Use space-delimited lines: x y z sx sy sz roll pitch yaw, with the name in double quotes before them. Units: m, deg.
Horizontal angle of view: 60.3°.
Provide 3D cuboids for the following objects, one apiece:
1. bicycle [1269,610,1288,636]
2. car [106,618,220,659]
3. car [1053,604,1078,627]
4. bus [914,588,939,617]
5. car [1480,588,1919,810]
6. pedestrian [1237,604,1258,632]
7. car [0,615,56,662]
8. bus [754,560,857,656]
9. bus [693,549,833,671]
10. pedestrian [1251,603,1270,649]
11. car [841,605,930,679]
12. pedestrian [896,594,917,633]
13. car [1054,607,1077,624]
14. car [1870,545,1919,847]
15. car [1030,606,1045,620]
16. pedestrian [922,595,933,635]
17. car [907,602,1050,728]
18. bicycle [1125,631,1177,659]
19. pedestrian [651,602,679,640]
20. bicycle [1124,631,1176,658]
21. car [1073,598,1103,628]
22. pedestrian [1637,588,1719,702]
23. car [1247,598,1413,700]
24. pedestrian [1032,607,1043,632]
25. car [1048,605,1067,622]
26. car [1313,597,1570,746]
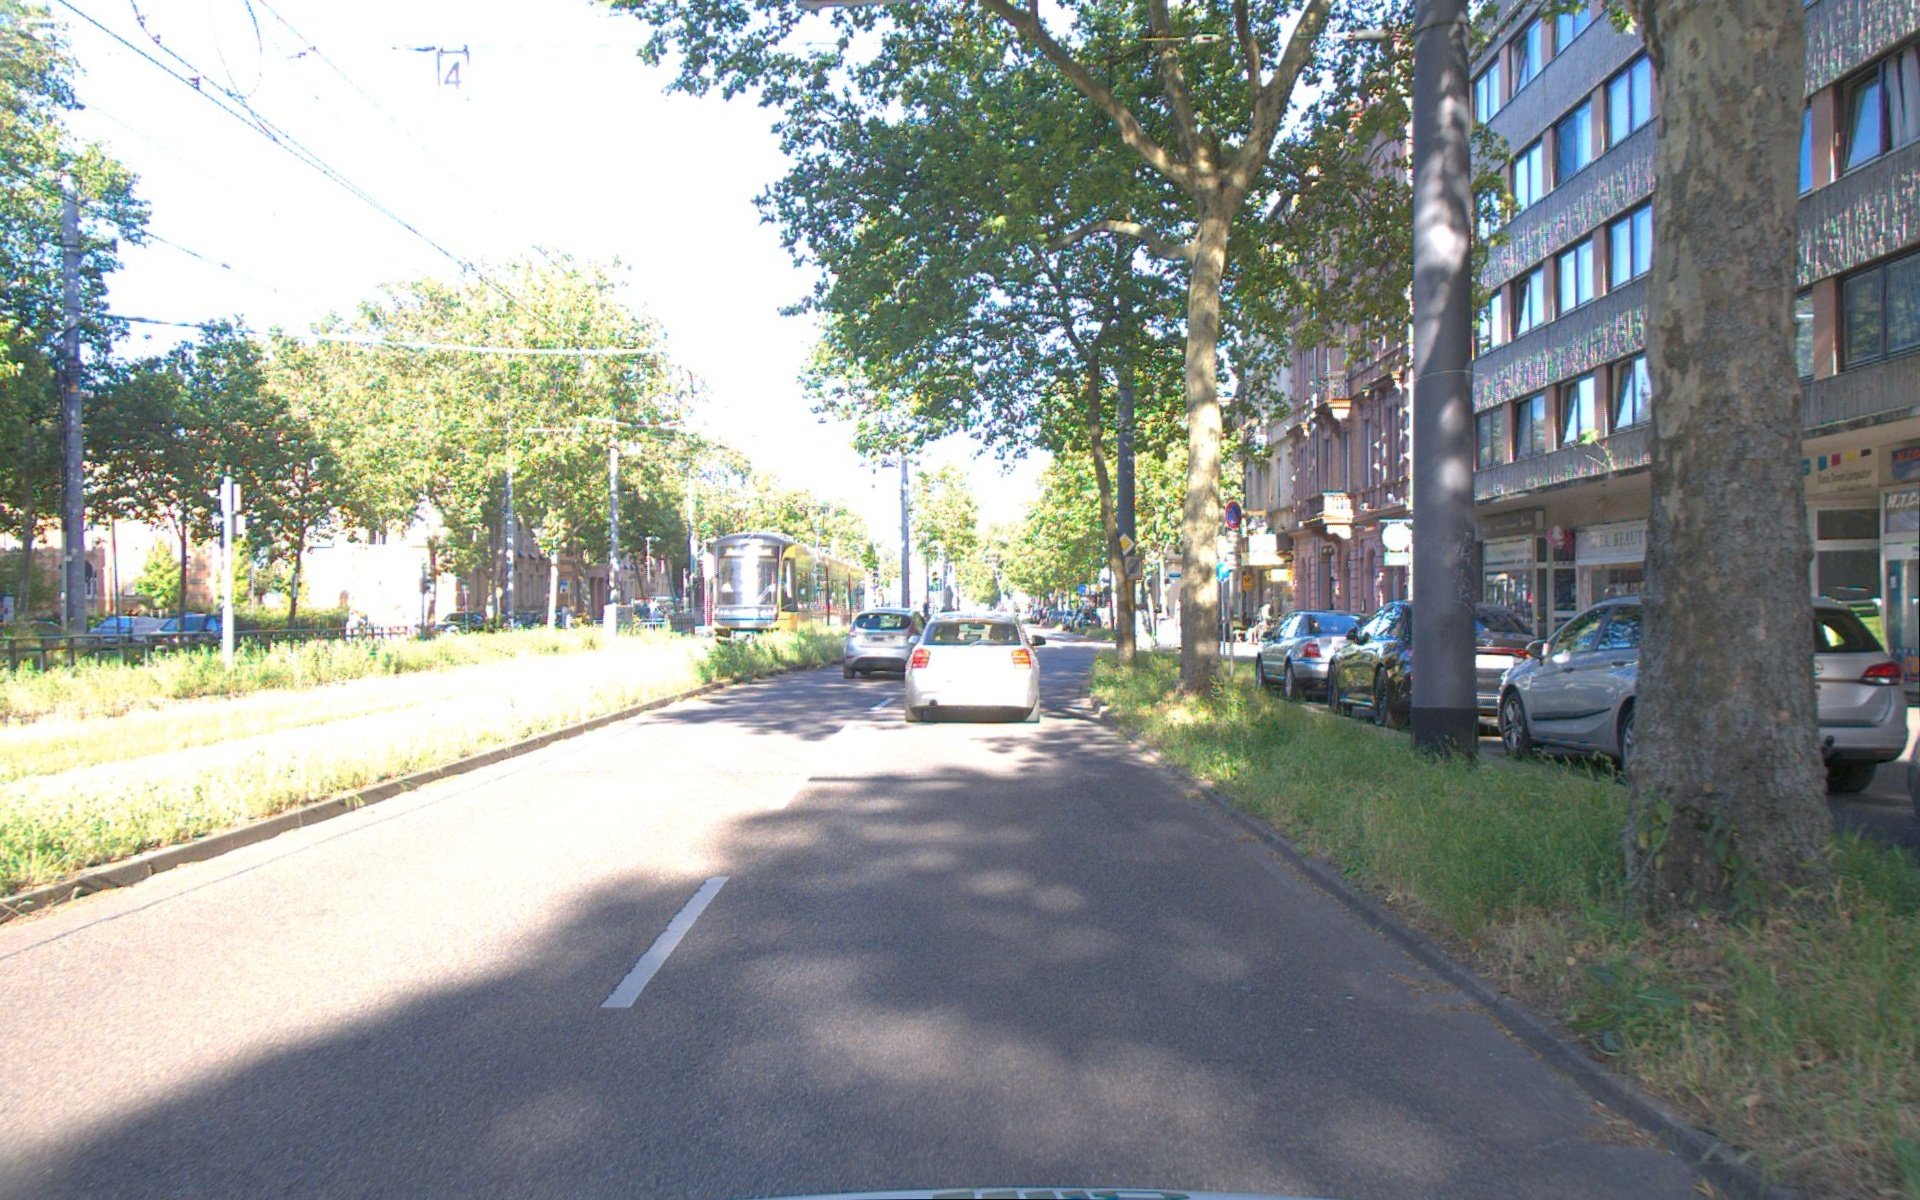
"bicycle" 12.847 0.914 66.730 0.434 1.010 1.688 2 0 0
"car" -26.008 1.238 54.103 1.755 1.199 4.000 2 0 0
"car" 8.274 1.233 129.960 1.657 1.687 4.039 0 1 0
"bus" -4.372 0.308 218.299 2.693 3.689 18.849 0 0 1
"car" 5.918 0.696 13.781 1.643 1.492 4.669 2 0 0
"pedestrian" 12.439 0.780 71.514 0.761 1.181 0.466 1 0 -25
"car" -25.901 1.025 44.737 1.372 1.221 2.844 0 0 -1
"bus" -6.086 0.299 67.032 2.810 3.504 12.215 0 0 1
"bus" -6.196 0.310 54.341 2.810 3.504 13.217 0 0 1
"pedestrian" 12.097 1.037 66.643 0.459 1.842 0.772 2 0 32
"car" -1.517 0.835 34.772 1.613 1.386 3.760 2 1 1
"pedestrian" -2.742 0.691 85.113 1.050 1.949 1.126 0 0 -1
"car" 9.948 1.472 156.306 1.952 1.535 4.597 2 -1 1
"car" 5.693 0.516 6.662 1.669 1.528 4.358 2 0 1
"car" 9.482 1.623 203.472 1.665 1.561 3.717 2 1 1
"pedestrian" -1.606 0.734 81.817 0.442 1.936 0.584 0 0 -7
"car" 0.228 0.808 22.469 1.726 1.457 4.000 2 1 0
"bicycle" 7.432 1.757 64.442 1.963 1.010 0.444 2 0 -2
"pedestrian" -13.266 0.934 74.428 1.154 1.672 0.891 0 -1 -7
"bicycle" 7.473 1.740 65.028 1.973 1.010 0.444 2 0 -2
"car" 8.840 0.889 114.568 1.718 1.999 4.737 0 0 0
"pedestrian" 11.621 0.712 26.798 0.979 1.791 0.715 2 0 1
"car" 5.961 0.729 27.141 1.666 1.449 4.516 2 1 0
"pedestrian" 6.396 1.582 136.785 0.820 2.049 0.649 2 0 7
"car" 9.537 1.302 161.593 1.635 1.578 4.001 2 1 1
"car" 5.584 0.760 19.842 1.768 1.516 4.920 2 0 2
